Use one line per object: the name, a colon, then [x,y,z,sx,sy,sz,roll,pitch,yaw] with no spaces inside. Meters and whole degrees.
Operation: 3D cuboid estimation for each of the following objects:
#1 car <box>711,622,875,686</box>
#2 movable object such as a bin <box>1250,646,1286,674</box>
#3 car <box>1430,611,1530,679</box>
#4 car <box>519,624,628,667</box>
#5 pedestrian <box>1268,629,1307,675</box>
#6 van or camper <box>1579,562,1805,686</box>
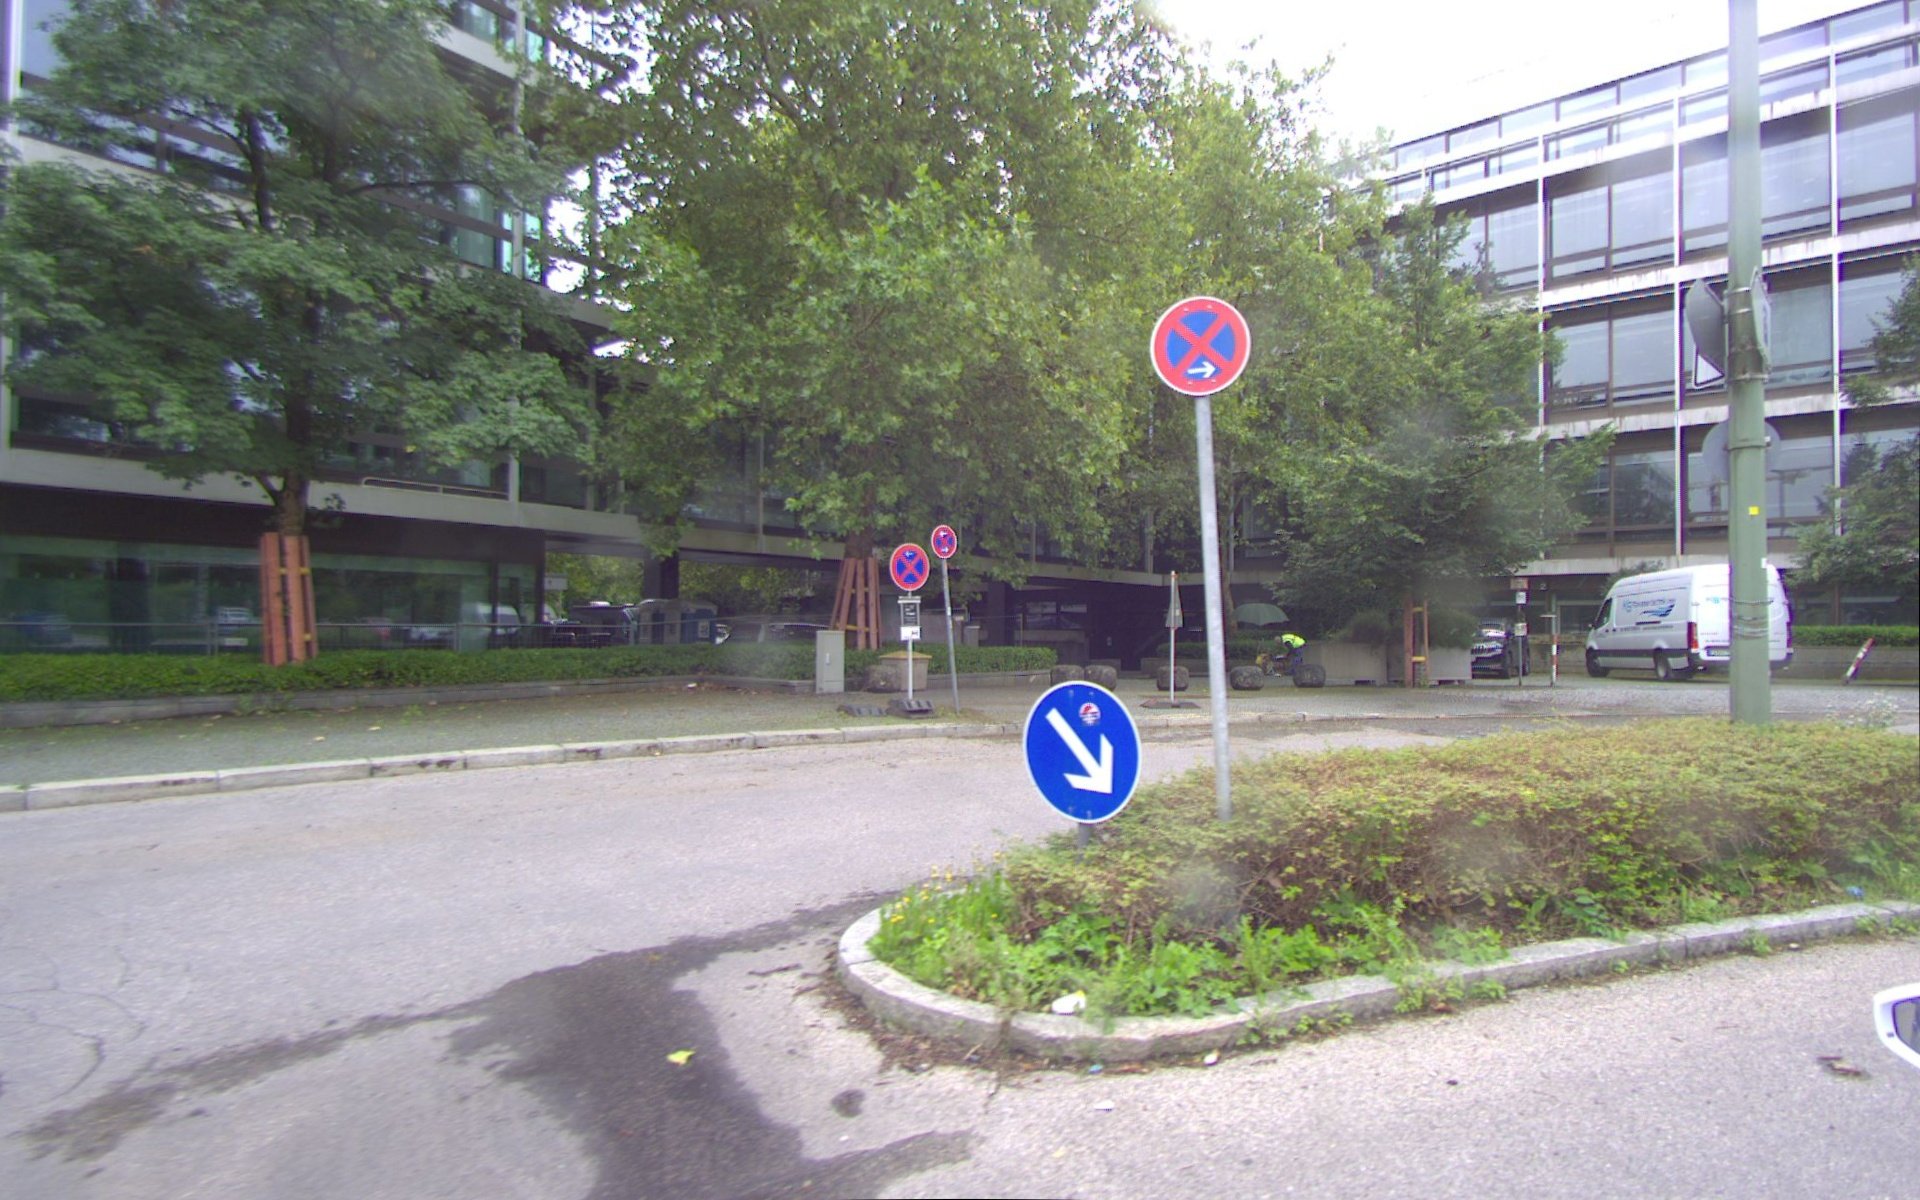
car: [-4.205,1.324,25.716,1.885,1.493,3.842,-1,-2,40]
movable object such as a bin: [8.929,1.735,29.106,0.825,0.763,0.569,0,-1,42]
car: [14.655,1.219,28.198,1.916,1.744,4.225,-1,-2,35]
car: [-14.243,1.652,36.956,3.796,1.493,1.907,-1,-2,34]
pedestrian: [9.382,1.479,28.777,0.915,1.295,0.539,0,-1,42]
van or camper: [17.602,0.668,24.677,2.119,2.614,6.544,0,-3,14]
